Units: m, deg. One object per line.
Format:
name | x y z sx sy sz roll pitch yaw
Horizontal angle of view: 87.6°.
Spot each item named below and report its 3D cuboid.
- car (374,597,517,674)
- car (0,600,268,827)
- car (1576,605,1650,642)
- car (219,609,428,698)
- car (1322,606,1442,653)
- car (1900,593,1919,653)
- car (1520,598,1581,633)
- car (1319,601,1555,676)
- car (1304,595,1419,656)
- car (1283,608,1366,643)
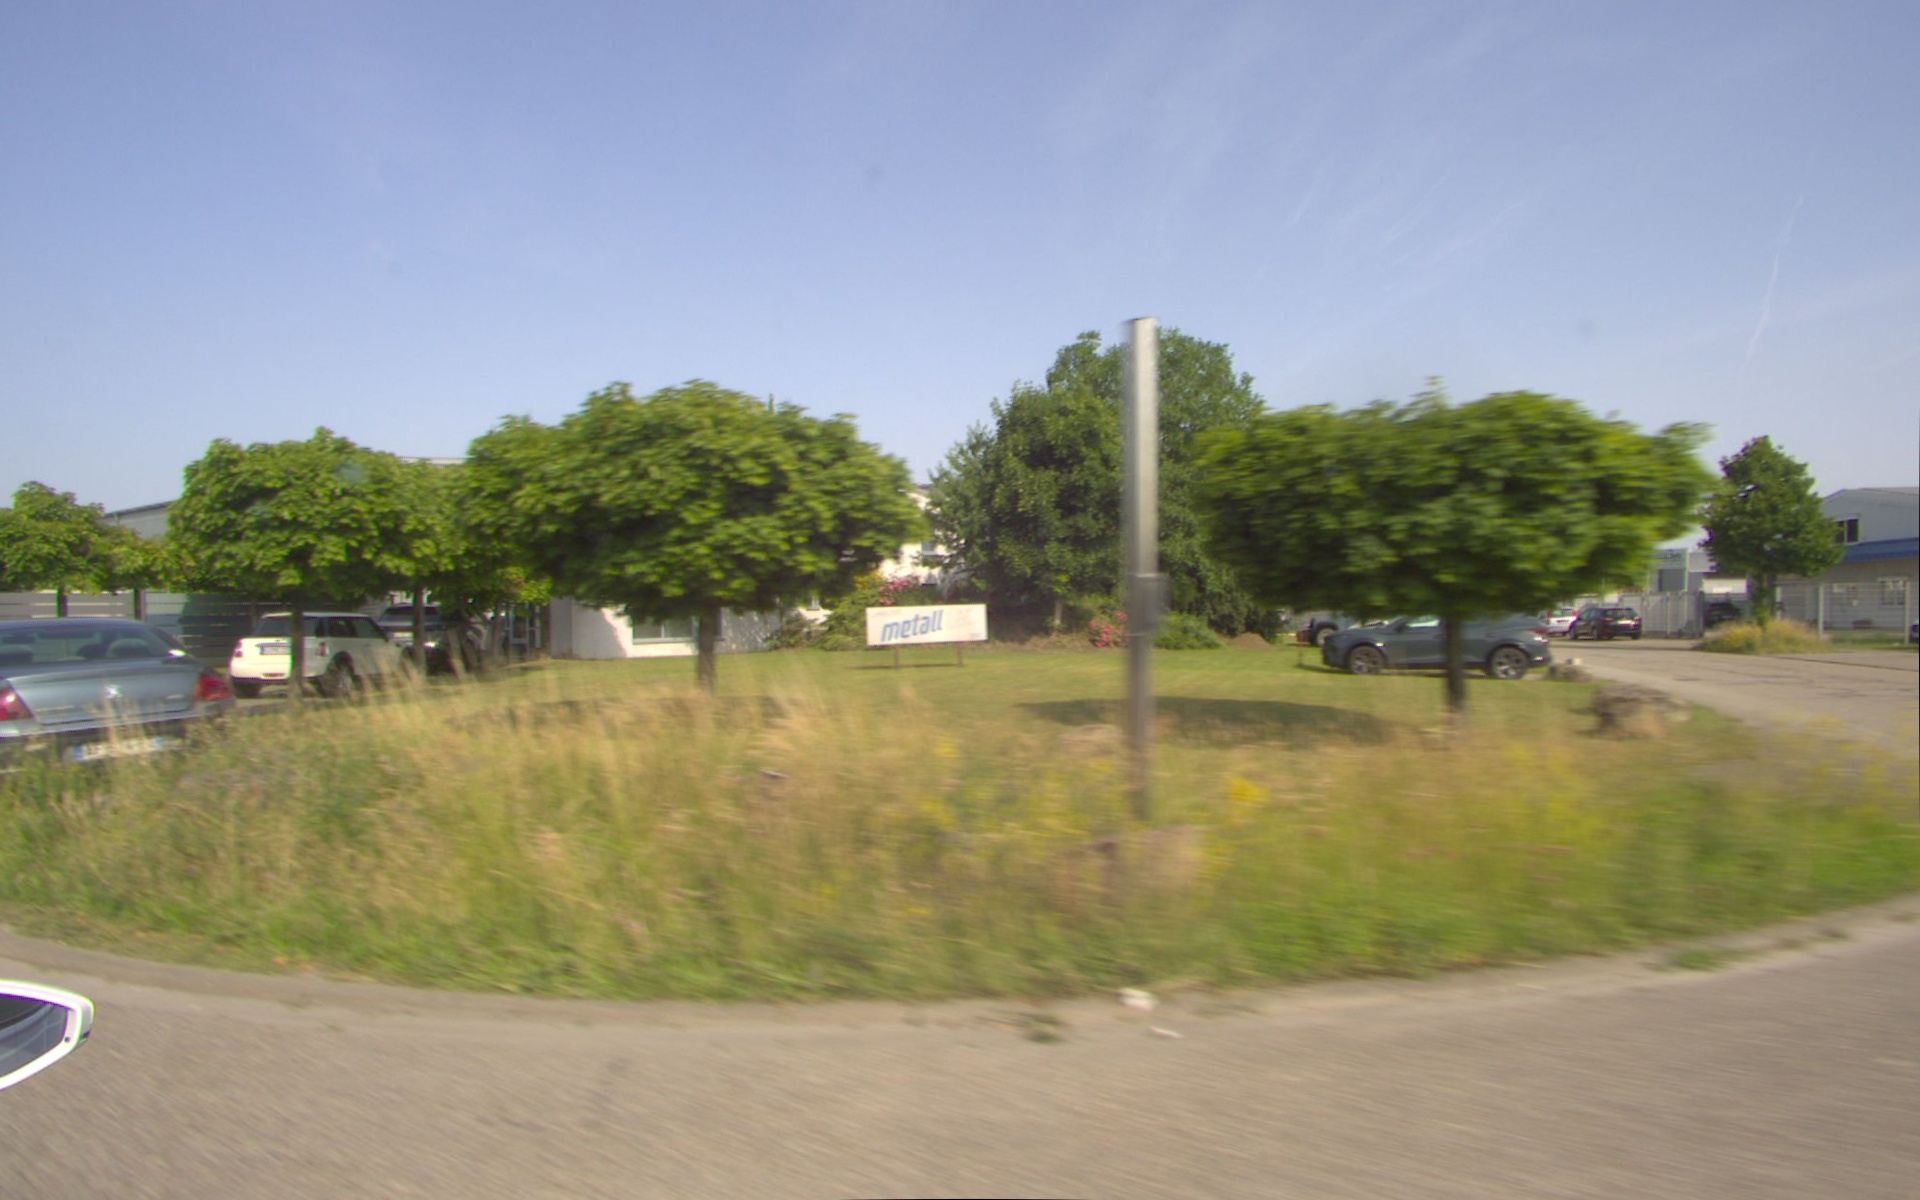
car | -11.871 0.771 23.419 1.656 1.610 4.531 -1 0 -10
car | -7.916 0.794 8.612 4.363 1.537 1.789 -1 0 34
car | 29.118 1.015 44.753 1.801 1.542 3.583 -1 0 17
car | -11.368 0.883 18.194 1.655 1.399 3.696 -1 0 -5
car | 13.887 0.974 33.091 3.455 1.469 1.560 -2 0 16
car | 31.152 0.674 29.917 4.130 1.821 1.713 -1 1 15
car | 30.330 0.779 51.529 1.965 1.751 3.992 0 0 19
car | 9.789 0.767 20.892 4.273 1.428 1.782 -1 0 22
car | 14.653 0.901 36.751 3.640 1.983 1.682 3 2 16
car | 15.687 1.095 43.206 3.258 1.428 1.560 -1 0 16
